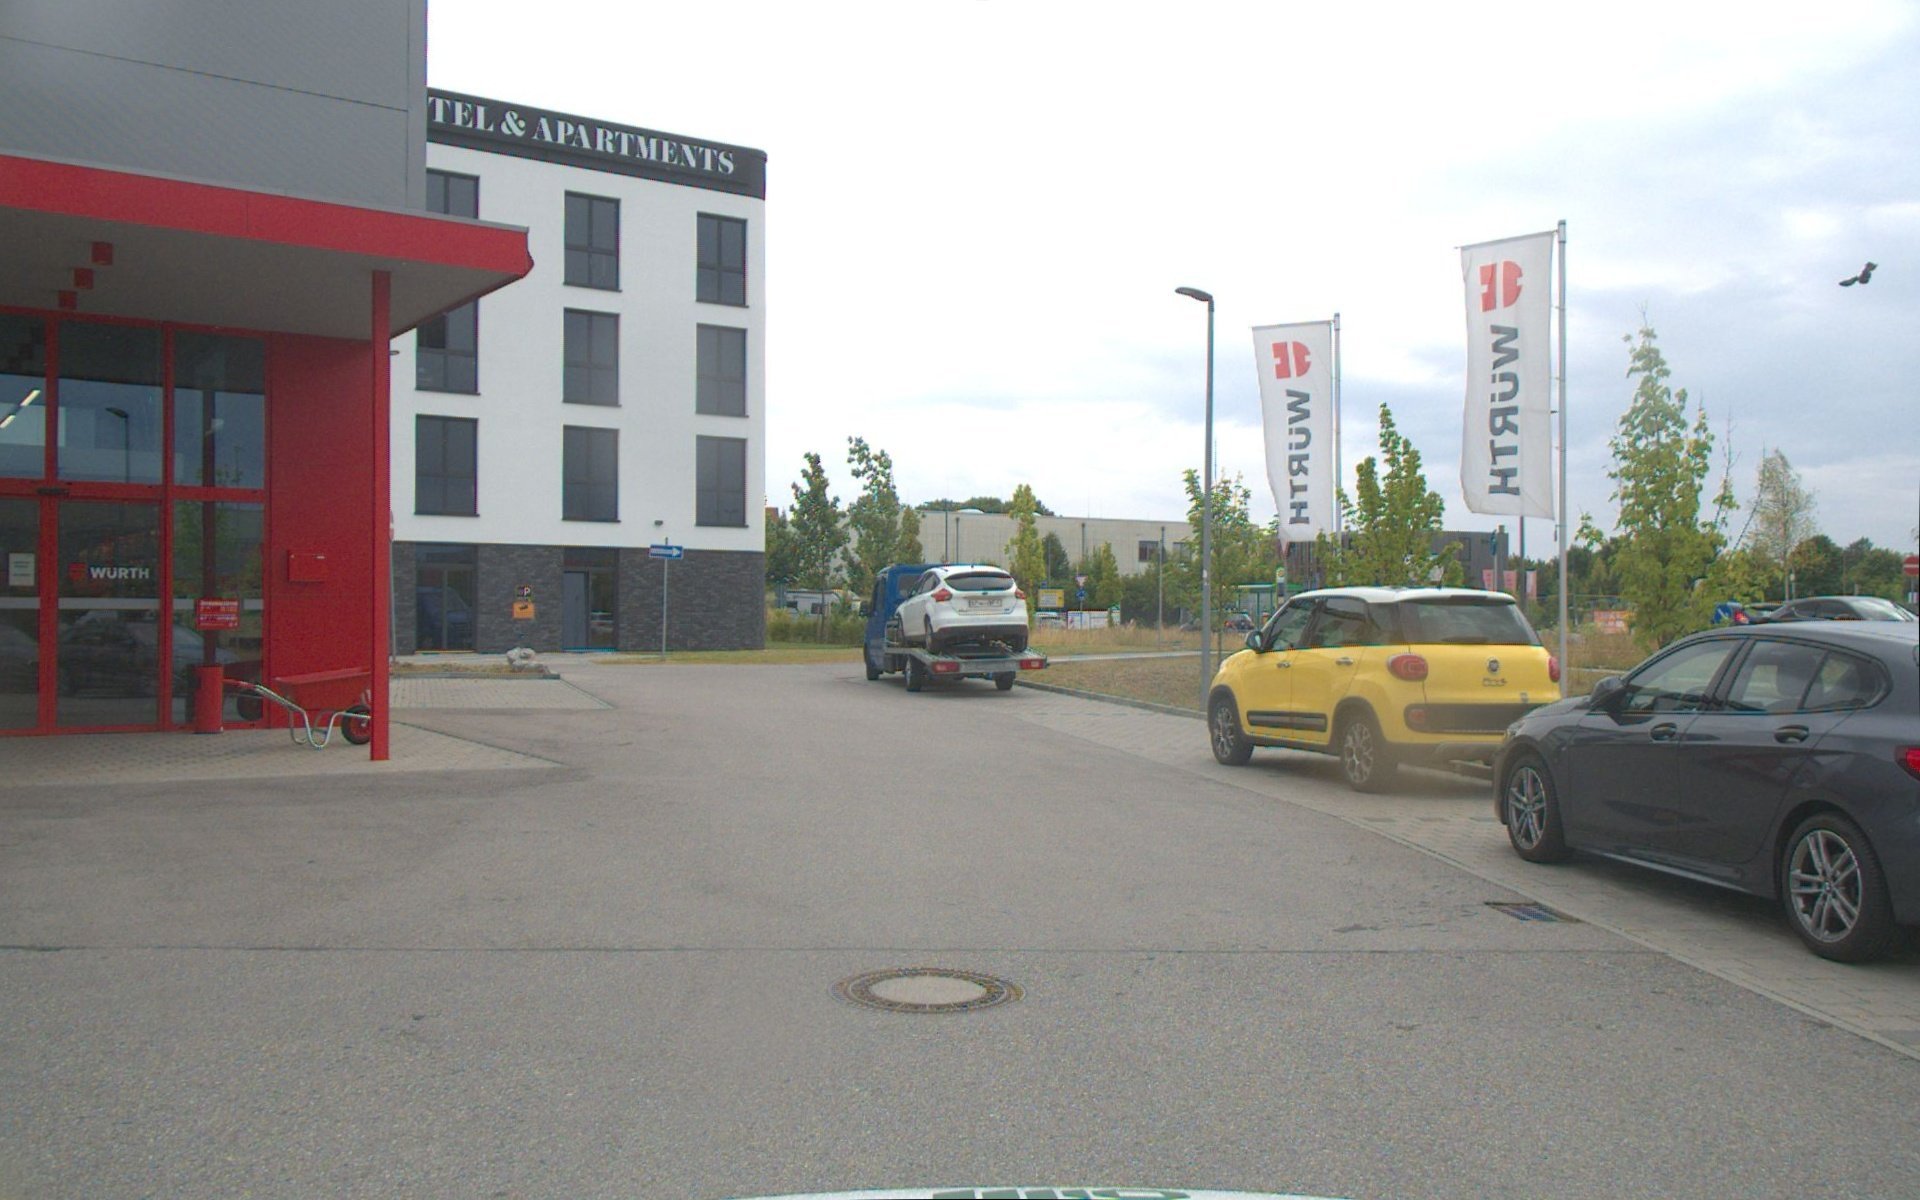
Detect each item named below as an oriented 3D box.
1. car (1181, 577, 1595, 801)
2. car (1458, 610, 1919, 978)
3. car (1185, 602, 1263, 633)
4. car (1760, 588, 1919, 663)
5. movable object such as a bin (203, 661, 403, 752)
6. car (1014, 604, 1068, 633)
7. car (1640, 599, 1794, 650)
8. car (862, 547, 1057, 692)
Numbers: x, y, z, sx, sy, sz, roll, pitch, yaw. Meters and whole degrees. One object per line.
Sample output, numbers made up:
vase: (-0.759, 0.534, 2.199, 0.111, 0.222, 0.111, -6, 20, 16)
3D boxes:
car: (3.641, 0.692, 14.947, 1.718, 1.713, 4.280, 1, 0, -15)
car: (4.366, 0.797, 8.548, 1.715, 1.440, 4.296, 1, 0, -9)
car: (11.128, 0.743, 70.016, 1.687, 1.246, 3.981, 0, 0, -17)
car: (17.710, 0.462, 32.307, 1.723, 1.378, 3.989, 0, 0, -11)
movable object such as a bin: (-5.958, 0.947, 15.018, 1.566, 0.728, 0.794, 0, 0, -34)
car: (4.182, 0.937, 86.193, 1.542, 1.445, 3.471, 0, 0, -22)
car: (21.131, 0.654, 46.316, 1.688, 1.347, 3.978, 0, 0, -19)
car: (-0.225, 0.359, 31.012, 2.155, 2.363, 7.834, 0, -1, -12)
